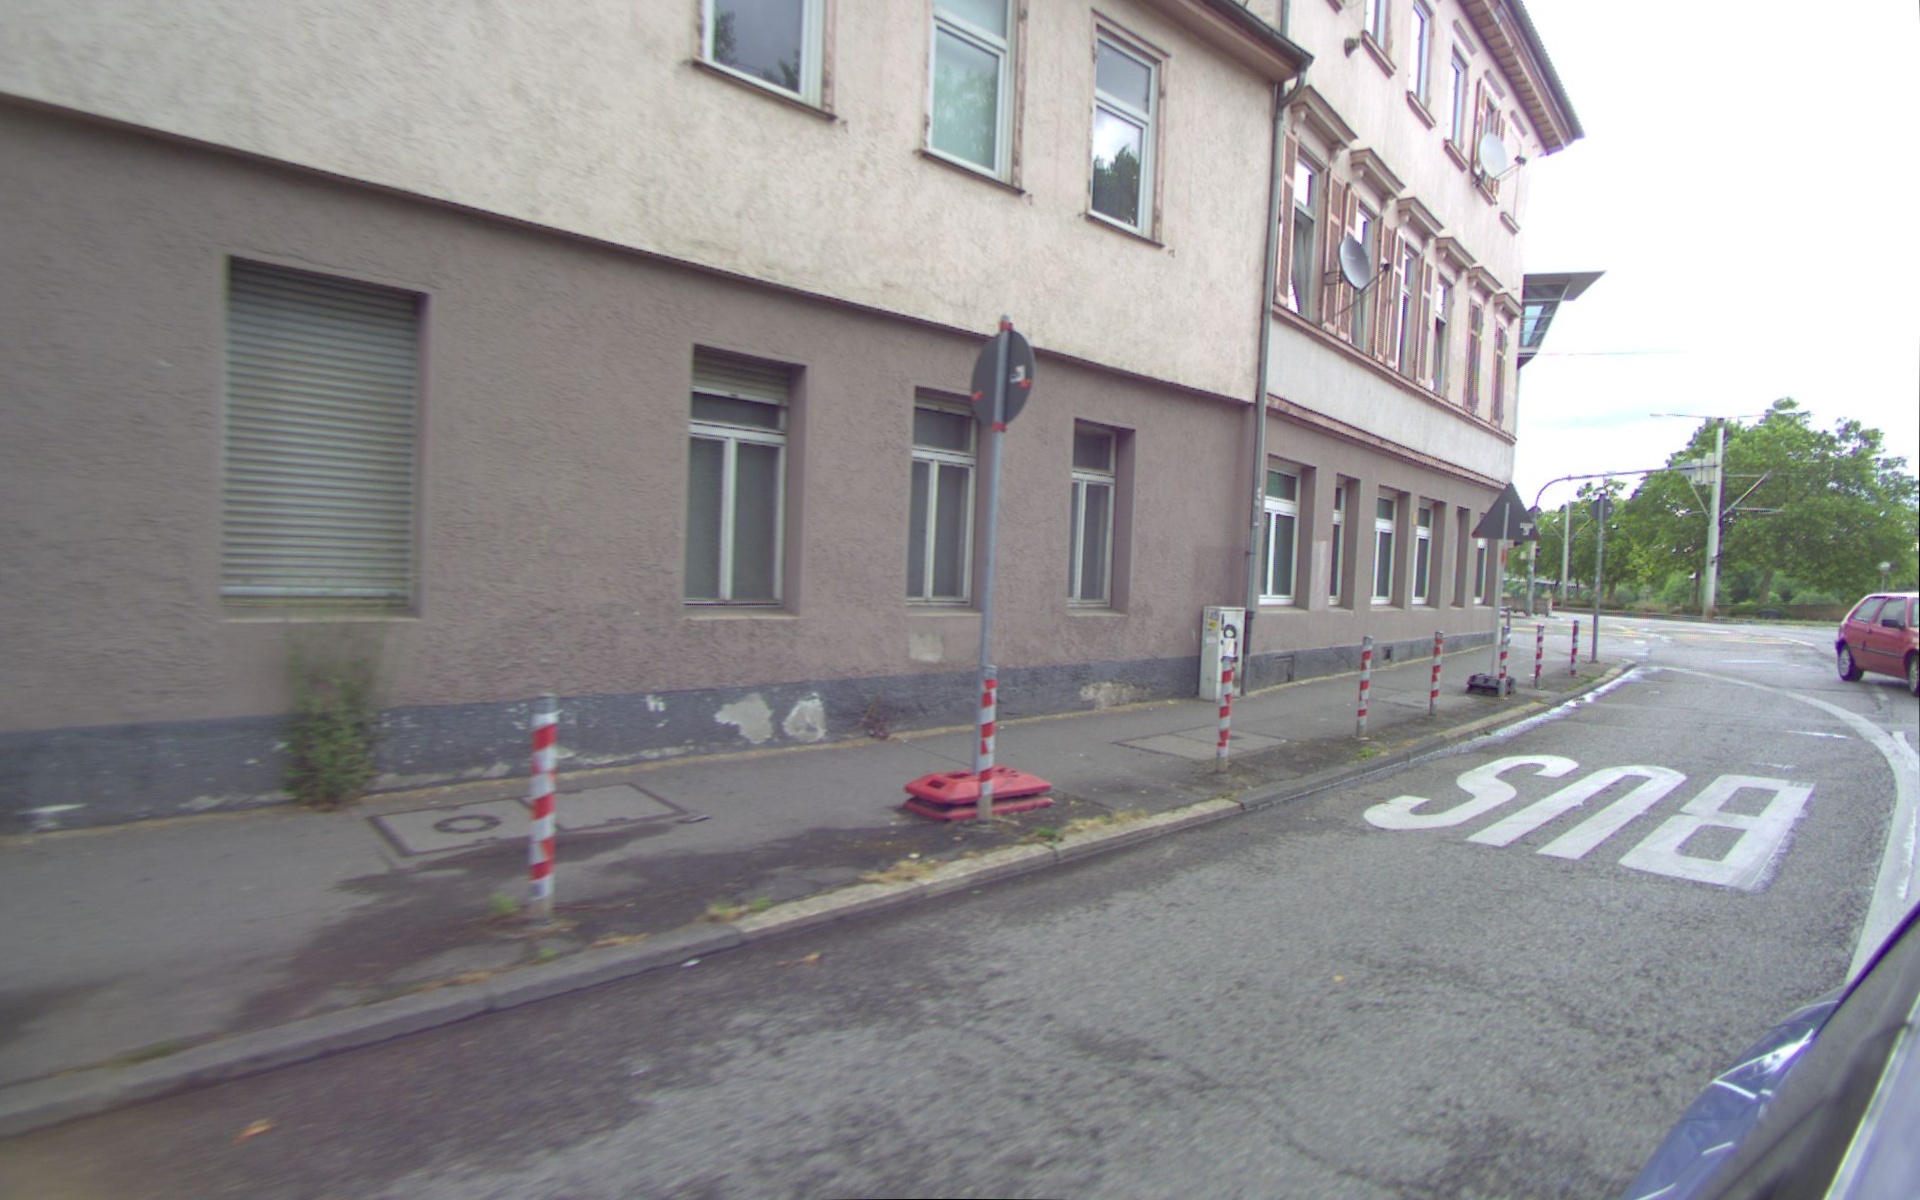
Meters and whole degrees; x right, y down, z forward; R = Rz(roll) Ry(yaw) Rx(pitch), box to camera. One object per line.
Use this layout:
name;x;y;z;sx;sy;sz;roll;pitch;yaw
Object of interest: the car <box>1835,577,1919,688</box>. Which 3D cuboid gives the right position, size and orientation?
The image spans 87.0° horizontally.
car;14.524;0.427;14.594;1.832;1.440;4.137;-1;1;26
